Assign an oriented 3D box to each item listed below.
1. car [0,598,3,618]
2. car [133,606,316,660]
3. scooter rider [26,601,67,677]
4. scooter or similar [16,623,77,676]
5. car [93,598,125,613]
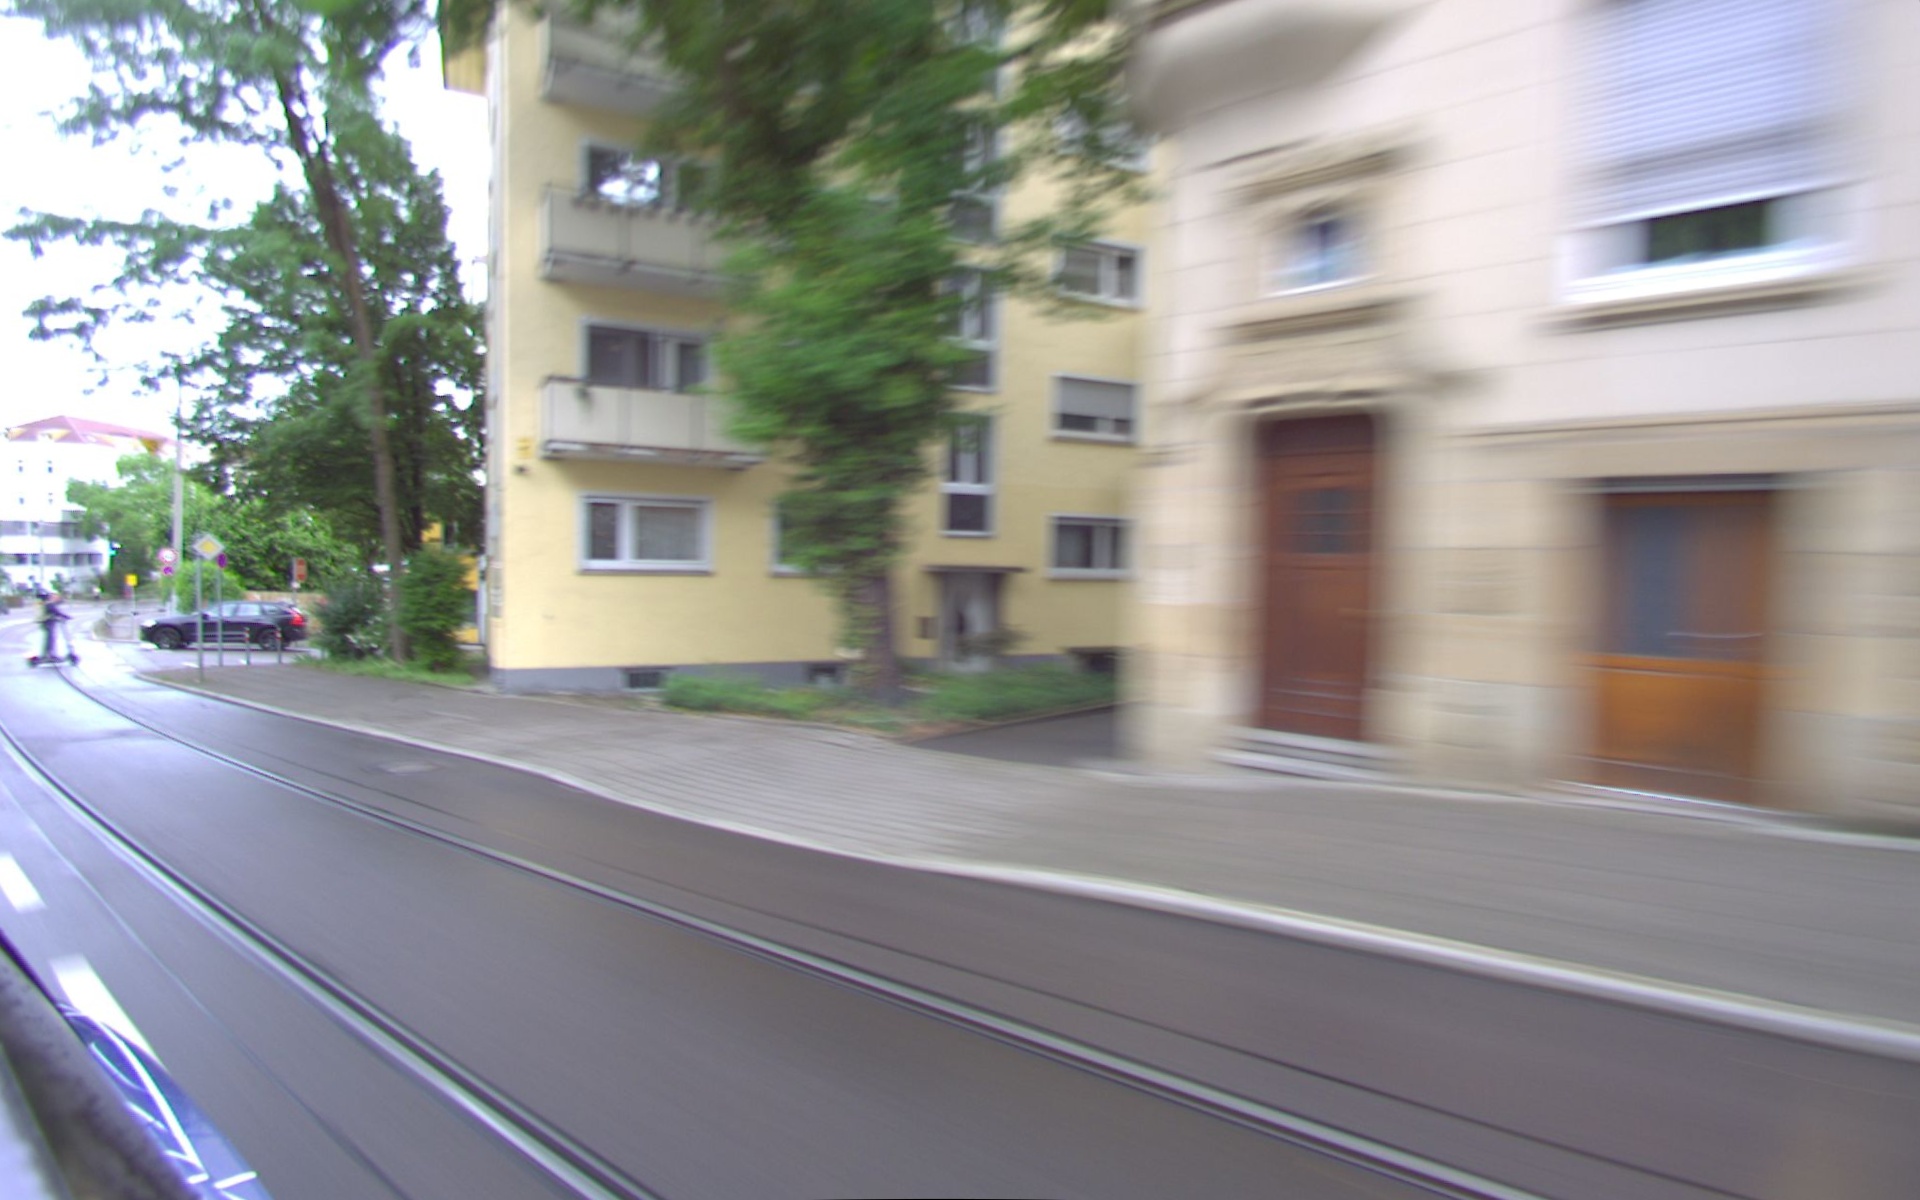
[{"bbox_3d":[-69.242,0.612,71.576,1.589,1.453,3.698,-3,2,-34],"label":"car"},{"bbox_3d":[-24.756,1.113,34.321,4.688,1.690,2.078,2,0,-25],"label":"car"},{"bbox_3d":[-23.101,0.973,25.583,0.645,1.872,0.681,1,0,39],"label":"scooter rider"},{"bbox_3d":[-23.091,1.233,25.585,0.645,1.270,1.075,1,0,39],"label":"scooter or similar"},{"bbox_3d":[-91.317,0.545,108.676,1.769,1.521,4.013,-1,1,-28],"label":"car"}]
